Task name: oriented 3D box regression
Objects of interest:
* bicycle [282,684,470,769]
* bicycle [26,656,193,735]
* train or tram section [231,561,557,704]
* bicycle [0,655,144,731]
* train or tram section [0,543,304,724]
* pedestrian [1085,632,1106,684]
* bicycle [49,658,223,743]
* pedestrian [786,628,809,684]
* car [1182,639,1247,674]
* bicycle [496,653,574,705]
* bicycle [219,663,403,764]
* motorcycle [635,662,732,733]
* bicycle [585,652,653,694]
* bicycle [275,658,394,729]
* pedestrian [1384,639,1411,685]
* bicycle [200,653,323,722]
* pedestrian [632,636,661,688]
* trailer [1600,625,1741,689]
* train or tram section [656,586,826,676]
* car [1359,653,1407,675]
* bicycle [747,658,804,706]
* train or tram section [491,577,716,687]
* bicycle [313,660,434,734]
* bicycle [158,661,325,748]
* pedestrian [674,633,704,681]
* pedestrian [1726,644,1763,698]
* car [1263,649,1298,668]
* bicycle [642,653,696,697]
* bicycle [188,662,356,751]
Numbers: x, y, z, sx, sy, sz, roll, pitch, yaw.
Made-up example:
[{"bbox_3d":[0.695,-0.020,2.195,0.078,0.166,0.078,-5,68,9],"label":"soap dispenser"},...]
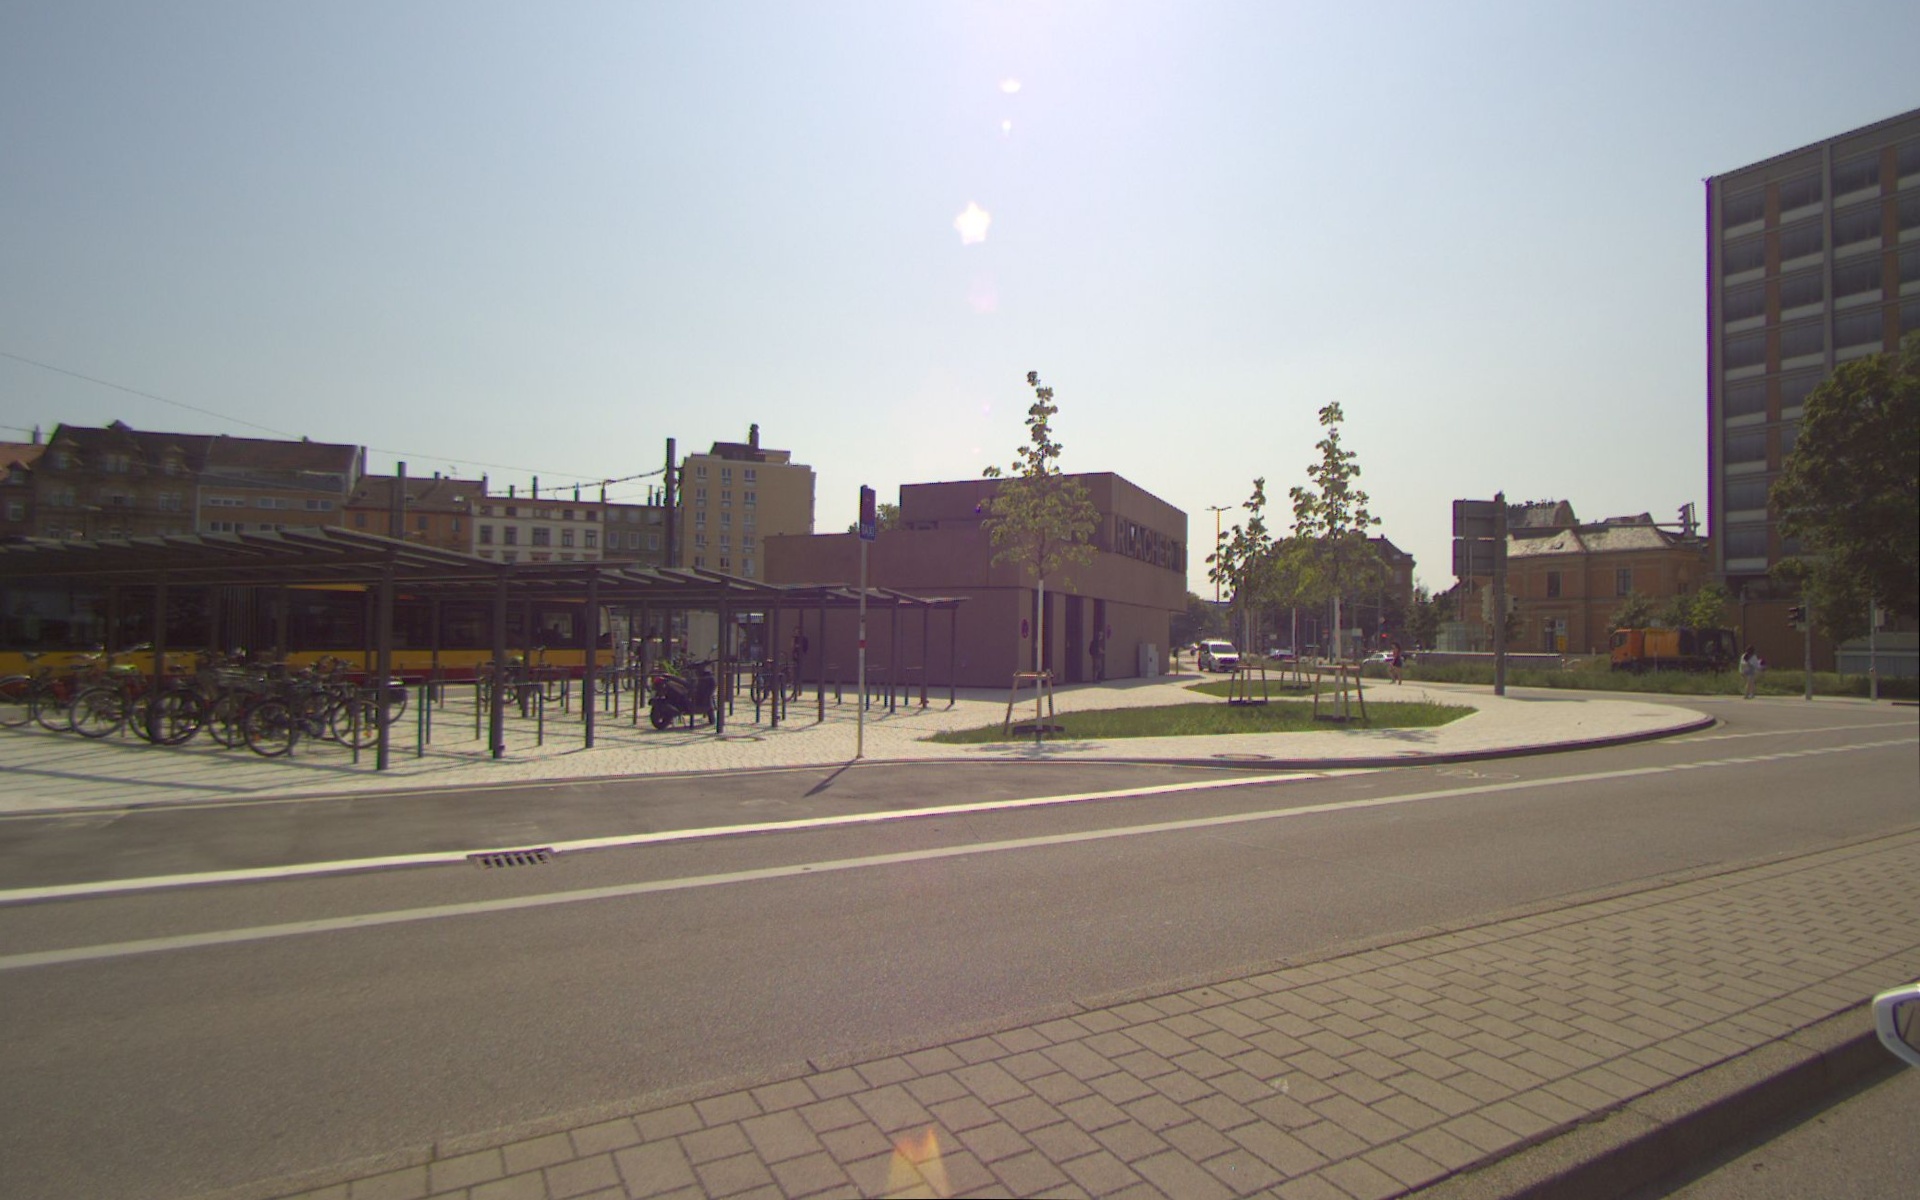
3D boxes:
[{"bbox_3d":[-6.739,1.434,11.711,0.482,0.895,1.896,-1,-4,28],"label":"bicycle"},{"bbox_3d":[-12.313,1.357,14.611,0.517,1.054,1.768,-1,-2,27],"label":"bicycle"},{"bbox_3d":[-16.426,0.983,30.057,3.102,3.645,8.239,-1,-2,25],"label":"train or tram section"},{"bbox_3d":[-13.382,1.354,15.011,0.517,1.054,1.768,-1,-2,27],"label":"bicycle"},{"bbox_3d":[-19.976,0.757,22.467,3.102,3.645,8.519,-1,-2,25],"label":"train or tram section"},{"bbox_3d":[4.491,1.917,33.192,0.558,1.700,0.536,0,-2,25],"label":"pedestrian"},{"bbox_3d":[-11.257,1.339,13.794,0.517,1.054,1.768,-1,-2,27],"label":"bicycle"},{"bbox_3d":[-5.005,1.725,30.994,0.435,1.700,0.568,0,-2,25],"label":"pedestrian"},{"bbox_3d":[15.029,3.305,59.475,1.965,1.884,4.325,-1,-2,-12],"label":"car"},{"bbox_3d":[-9.039,1.658,21.422,0.405,1.054,1.639,-1,-2,27],"label":"bicycle"},{"bbox_3d":[-7.904,1.342,12.332,0.517,1.096,1.863,-1,-2,27],"label":"bicycle"},{"bbox_3d":[-4.620,1.605,16.886,0.482,1.083,1.777,-1,-2,28],"label":"motorcycle"},{"bbox_3d":[-8.665,1.844,25.587,0.503,0.998,1.856,-1,-2,24],"label":"bicycle"},{"bbox_3d":[-10.016,1.477,16.150,0.405,1.054,1.639,-1,-2,27],"label":"bicycle"},{"bbox_3d":[16.616,2.339,38.153,0.617,1.725,0.786,1,-2,-12],"label":"pedestrian"},{"bbox_3d":[-11.423,1.402,16.479,0.405,1.054,1.639,-1,-2,27],"label":"bicycle"},{"bbox_3d":[-8.742,1.720,27.983,0.660,1.429,0.440,2,-2,-31],"label":"pedestrian"},{"bbox_3d":[36.851,2.923,52.384,2.425,3.047,6.321,3,-2,-6],"label":"trailer"},{"bbox_3d":[-9.544,1.395,44.954,3.086,3.617,8.239,-2,-2,25],"label":"train or tram section"},{"bbox_3d":[32.210,4.859,76.600,1.729,1.474,4.426,2,-2,-1],"label":"car"},{"bbox_3d":[-4.246,1.874,23.230,0.503,1.054,1.735,0,-2,18],"label":"bicycle"},{"bbox_3d":[-12.973,1.202,37.514,3.086,3.617,8.239,-2,-2,25],"label":"train or tram section"},{"bbox_3d":[-9.066,1.477,15.597,0.405,1.054,1.639,-1,-2,27],"label":"bicycle"},{"bbox_3d":[-9.601,1.360,13.507,0.517,1.054,1.768,-1,-2,27],"label":"bicycle"},{"bbox_3d":[-8.178,1.725,30.318,0.436,1.429,0.744,0,-2,29],"label":"pedestrian"},{"bbox_3d":[25.260,2.285,32.342,0.688,1.717,0.606,1,-2,-12],"label":"pedestrian"},{"bbox_3d":[26.009,4.719,81.576,1.728,1.422,3.983,2,-2,3],"label":"car"},{"bbox_3d":[-7.207,1.845,24.977,0.503,1.054,1.736,0,-2,13],"label":"bicycle"},{"bbox_3d":[-8.982,1.356,13.197,0.517,1.054,1.768,-1,-2,27],"label":"bicycle"}]
